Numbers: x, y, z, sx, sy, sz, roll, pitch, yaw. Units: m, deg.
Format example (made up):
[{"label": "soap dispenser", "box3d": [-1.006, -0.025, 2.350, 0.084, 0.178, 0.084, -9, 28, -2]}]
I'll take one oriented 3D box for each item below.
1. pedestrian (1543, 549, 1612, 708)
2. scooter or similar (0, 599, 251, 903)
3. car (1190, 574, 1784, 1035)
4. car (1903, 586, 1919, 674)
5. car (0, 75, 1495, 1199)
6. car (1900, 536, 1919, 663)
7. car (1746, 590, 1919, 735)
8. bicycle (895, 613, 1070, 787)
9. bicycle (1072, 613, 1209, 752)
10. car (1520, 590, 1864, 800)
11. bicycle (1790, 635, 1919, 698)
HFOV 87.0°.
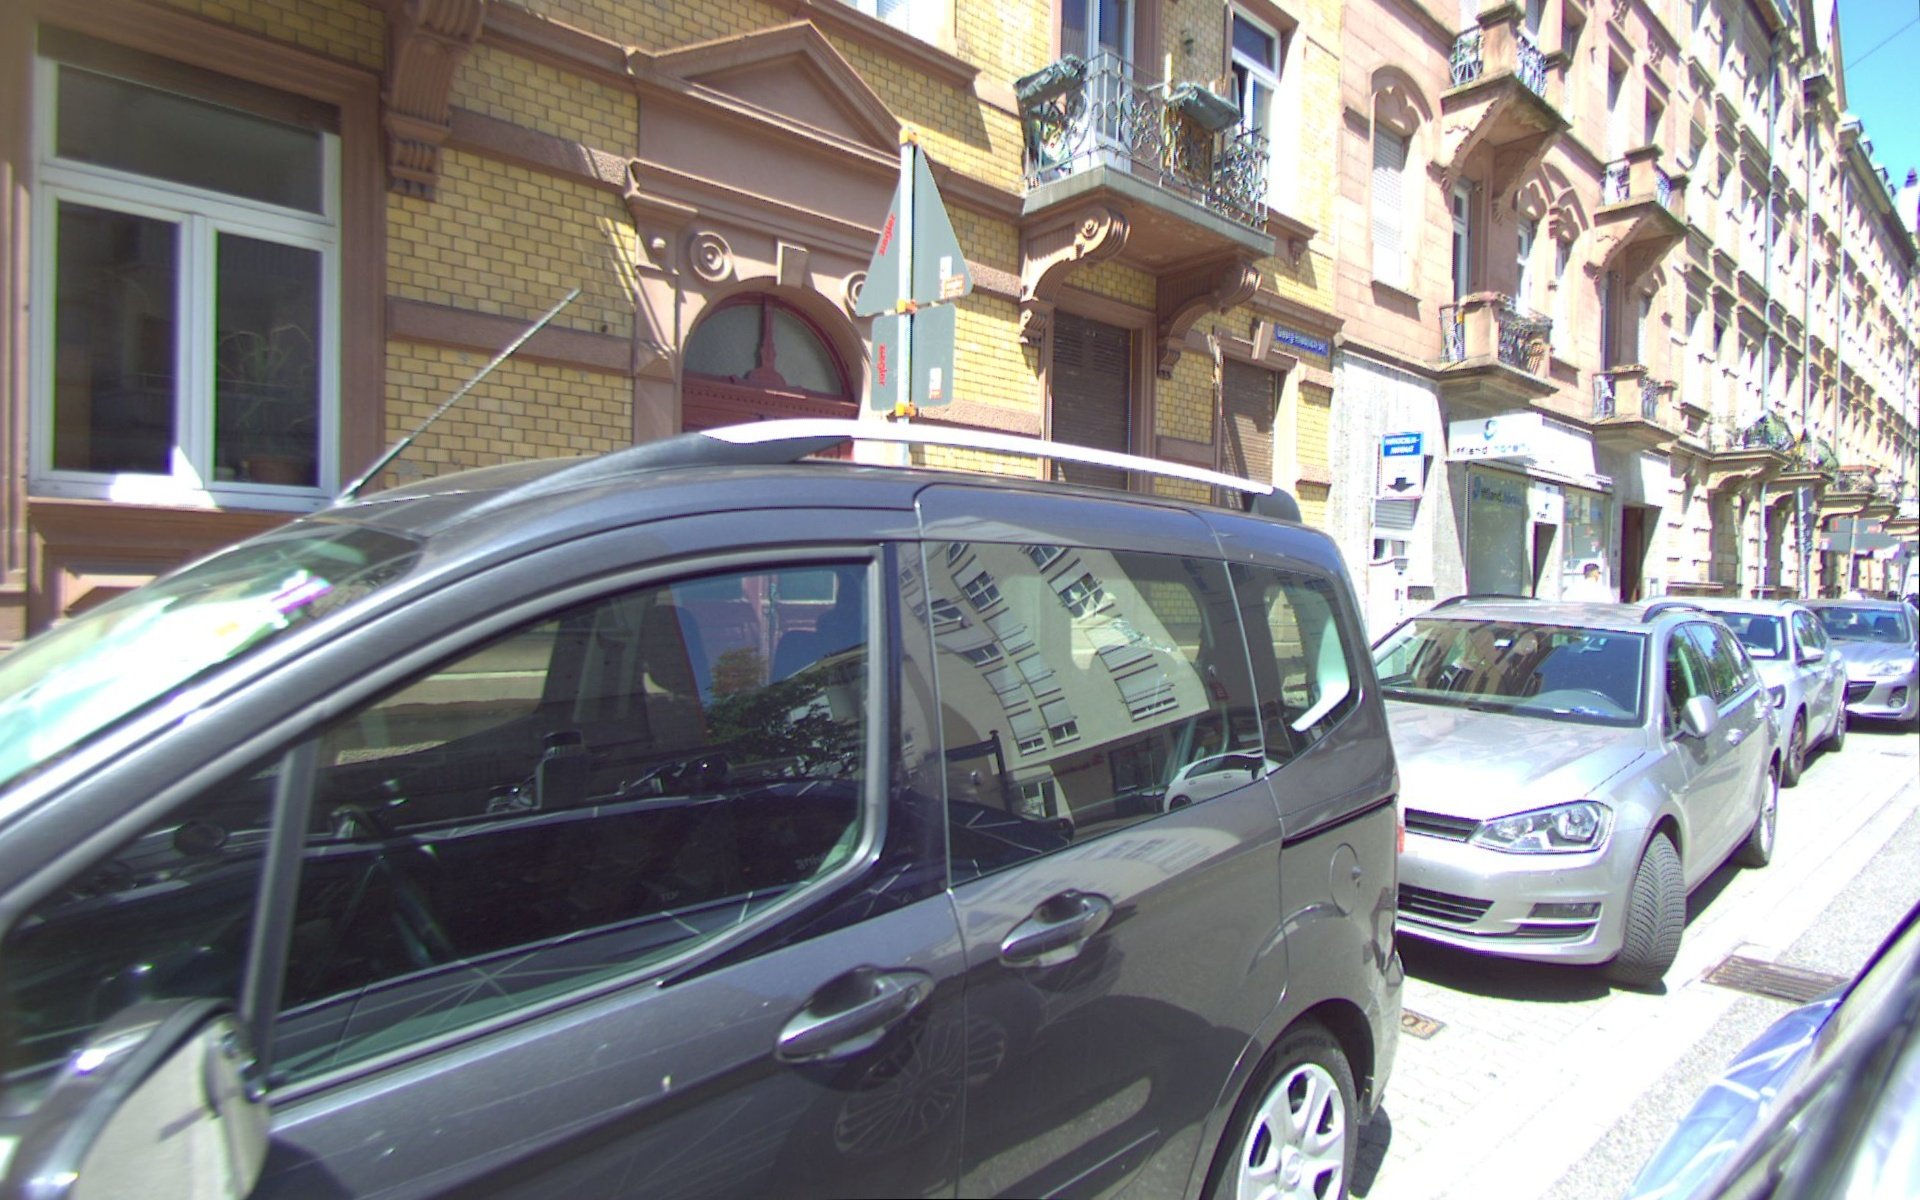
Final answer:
[{"label": "pedestrian", "box3d": [7.749, 0.345, 12.710, 0.363, 1.938, 0.634, 1, 0, -40]}, {"label": "scooter or similar", "box3d": [-4.043, 0.583, 3.930, 2.075, 1.167, 0.477, 0, 0, -41]}, {"label": "car", "box3d": [2.957, 0.632, 5.236, 1.760, 1.468, 3.844, 0, 1, 43]}, {"label": "car", "box3d": [18.878, 0.527, 18.882, 3.934, 1.556, 1.679, 0, 0, -44]}, {"label": "car", "box3d": [-0.667, 0.470, 1.944, 3.930, 1.755, 1.704, 0, 0, -41]}, {"label": "car", "box3d": [22.979, -0.030, 22.818, 4.951, 2.737, 2.066, 0, 0, -41]}, {"label": "car", "box3d": [10.738, 0.628, 12.115, 3.628, 1.480, 1.600, 0, 0, -44]}, {"label": "bicycle", "box3d": [0.190, 0.683, 7.416, 1.404, 1.121, 0.366, -1, 2, -41]}, {"label": "bicycle", "box3d": [1.578, 0.667, 8.716, 1.404, 1.063, 0.366, -1, 2, -41]}, {"label": "car", "box3d": [6.743, 0.649, 9.161, 3.933, 1.479, 1.827, 0, 1, -43]}, {"label": "bicycle", "box3d": [13.304, 0.953, 14.598, 0.557, 0.786, 1.968, 1, 1, -36]}]
